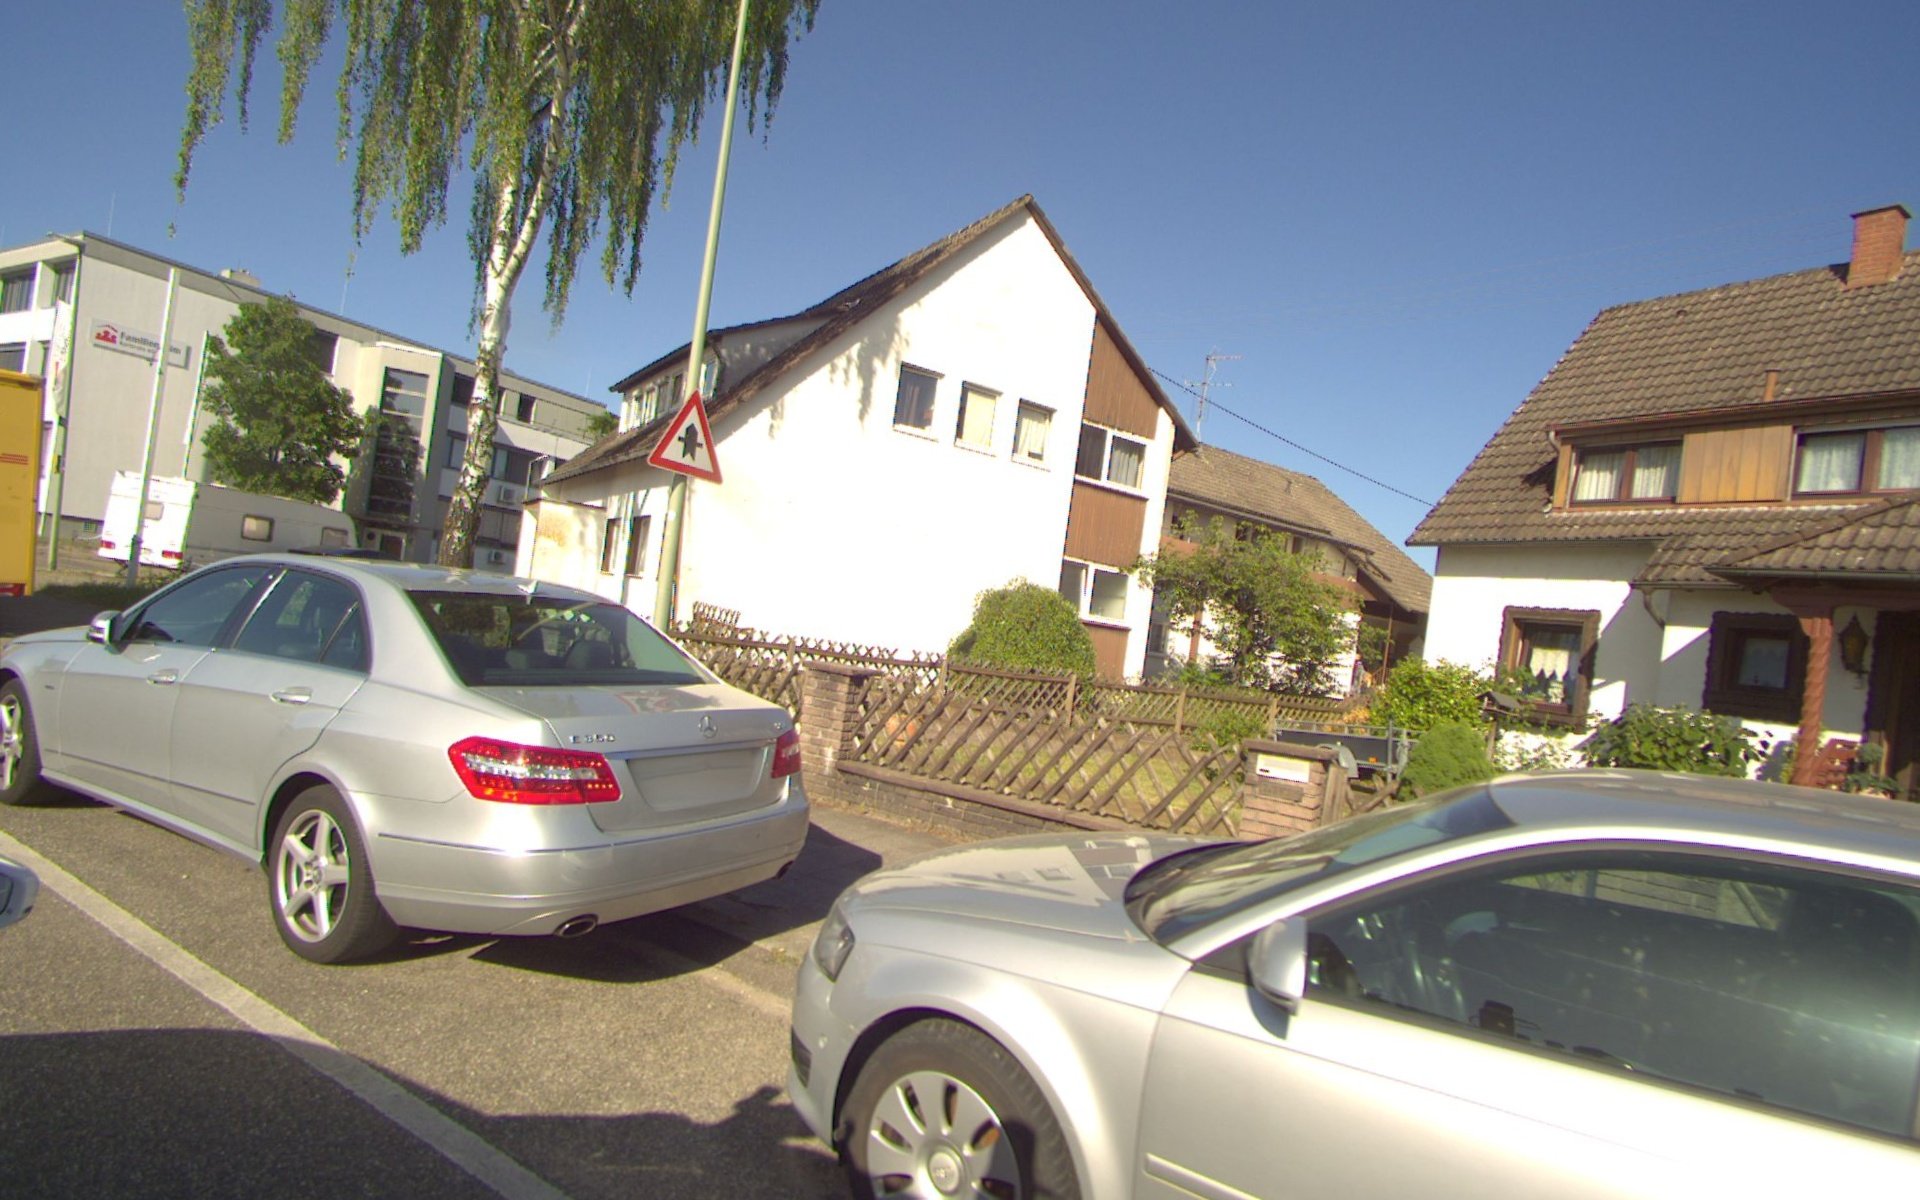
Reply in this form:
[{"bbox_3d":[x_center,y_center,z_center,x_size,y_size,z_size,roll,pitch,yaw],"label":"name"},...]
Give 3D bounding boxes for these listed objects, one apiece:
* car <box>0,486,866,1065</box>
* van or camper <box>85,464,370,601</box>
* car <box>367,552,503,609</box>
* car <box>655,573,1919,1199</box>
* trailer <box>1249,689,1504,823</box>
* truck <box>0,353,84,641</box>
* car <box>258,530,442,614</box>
[{"bbox_3d":[-2.894,0.493,4.943,4.459,1.560,1.788,7,-2,29],"label":"car"},{"bbox_3d":[-18.354,-1.546,25.744,2.246,2.570,5.839,8,-2,8],"label":"van or camper"},{"bbox_3d":[-21.194,-0.739,40.808,1.770,1.636,4.519,7,-2,32],"label":"car"},{"bbox_3d":[1.350,0.990,2.282,3.980,1.559,1.676,7,-2,36],"label":"car"},{"bbox_3d":[4.816,1.793,11.847,1.633,1.084,2.176,9,-2,-21],"label":"trailer"},{"bbox_3d":[-13.239,-1.440,11.802,6.900,2.974,2.405,7,1,32],"label":"truck"},{"bbox_3d":[-15.666,-0.654,26.116,1.776,1.636,4.005,8,-2,8],"label":"car"}]
